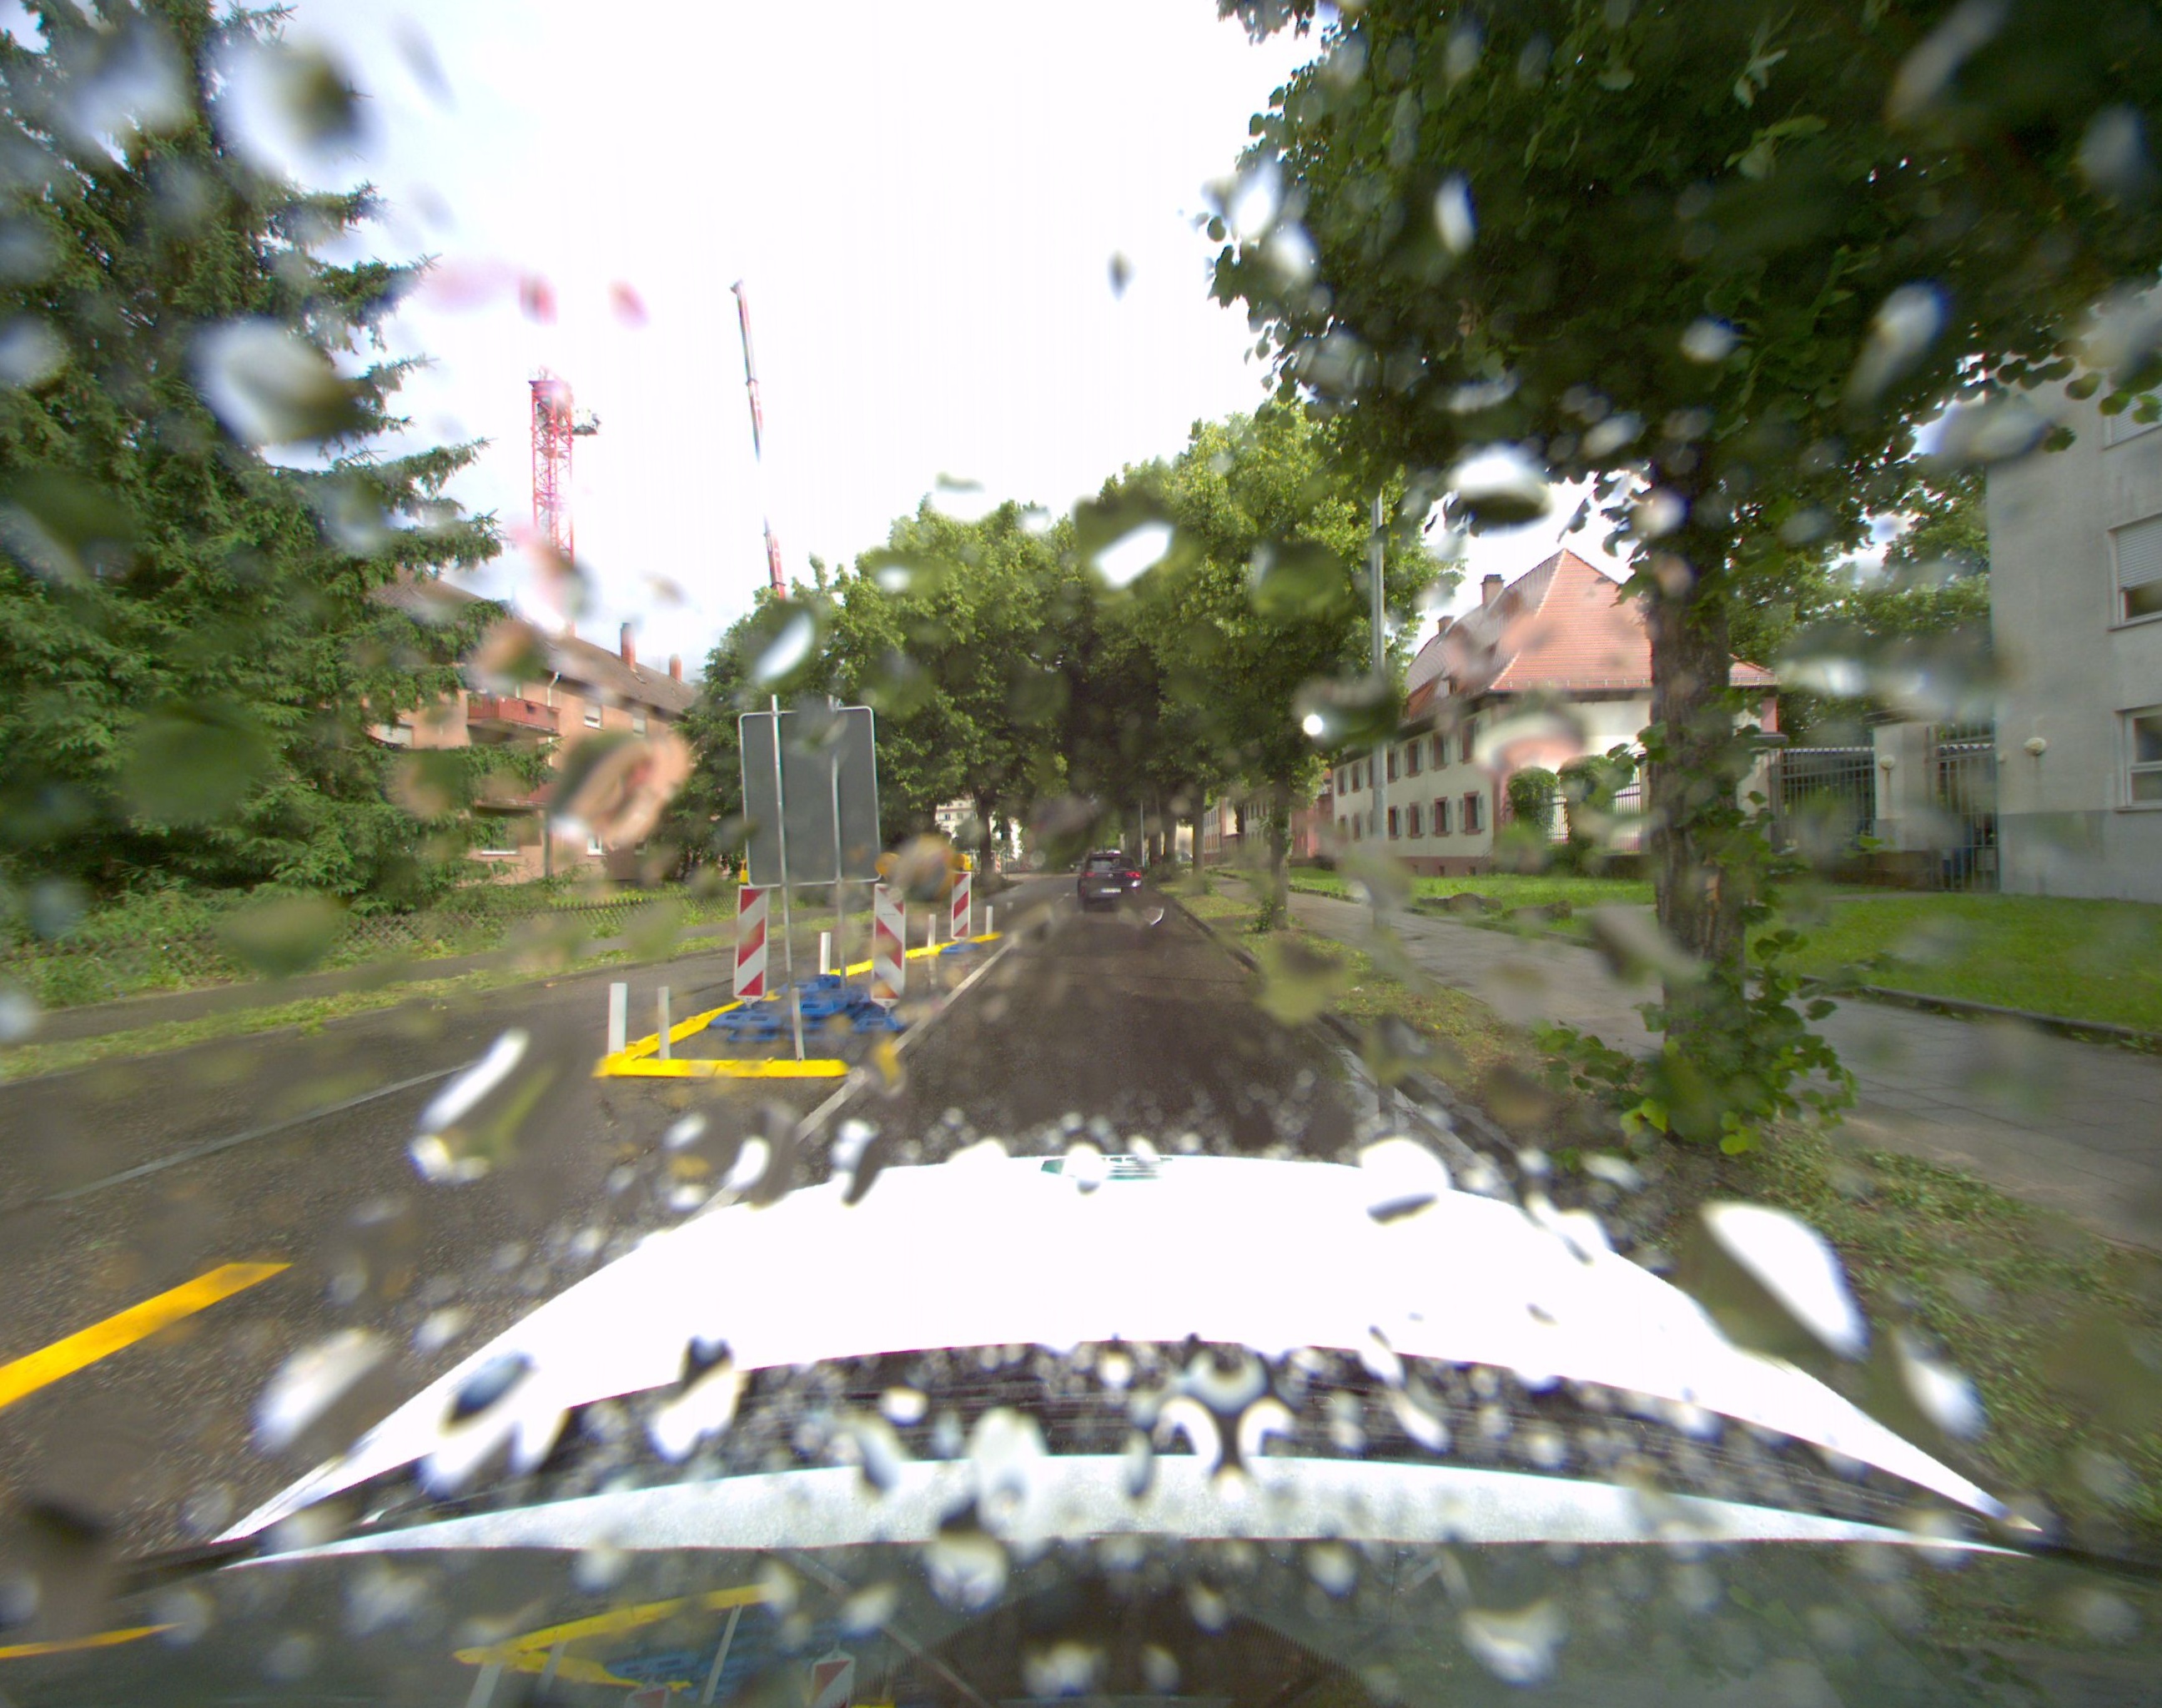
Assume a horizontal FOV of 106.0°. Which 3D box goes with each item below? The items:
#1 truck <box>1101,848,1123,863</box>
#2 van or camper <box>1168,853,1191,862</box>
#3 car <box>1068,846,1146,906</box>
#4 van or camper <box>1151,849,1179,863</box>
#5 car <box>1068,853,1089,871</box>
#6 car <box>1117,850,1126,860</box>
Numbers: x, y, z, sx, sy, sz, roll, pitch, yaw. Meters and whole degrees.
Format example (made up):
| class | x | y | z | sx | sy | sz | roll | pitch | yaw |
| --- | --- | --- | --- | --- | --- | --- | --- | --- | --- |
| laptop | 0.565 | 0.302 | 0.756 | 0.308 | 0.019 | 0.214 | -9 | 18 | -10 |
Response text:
| class | x | y | z | sx | sy | sz | roll | pitch | yaw |
| --- | --- | --- | --- | --- | --- | --- | --- | --- | --- |
| truck | 5.806 | 0.233 | 153.402 | 2.803 | 2.656 | 8.219 | -1 | 0 | -7 |
| van or camper | 21.040 | 0.747 | 174.099 | 4.855 | 1.925 | 2.132 | -1 | 0 | 2 |
| car | 0.641 | 0.587 | 23.028 | 1.890 | 1.522 | 3.996 | -1 | -1 | -3 |
| van or camper | 16.101 | 0.367 | 156.469 | 5.015 | 2.596 | 2.168 | -2 | -1 | 0 |
| car | -0.225 | 0.820 | 85.576 | 1.879 | 1.713 | 4.232 | -2 | 0 | 2 |
| car | 10.107 | 0.218 | 202.654 | 1.983 | 2.014 | 4.005 | -1 | -5 | 6 |
